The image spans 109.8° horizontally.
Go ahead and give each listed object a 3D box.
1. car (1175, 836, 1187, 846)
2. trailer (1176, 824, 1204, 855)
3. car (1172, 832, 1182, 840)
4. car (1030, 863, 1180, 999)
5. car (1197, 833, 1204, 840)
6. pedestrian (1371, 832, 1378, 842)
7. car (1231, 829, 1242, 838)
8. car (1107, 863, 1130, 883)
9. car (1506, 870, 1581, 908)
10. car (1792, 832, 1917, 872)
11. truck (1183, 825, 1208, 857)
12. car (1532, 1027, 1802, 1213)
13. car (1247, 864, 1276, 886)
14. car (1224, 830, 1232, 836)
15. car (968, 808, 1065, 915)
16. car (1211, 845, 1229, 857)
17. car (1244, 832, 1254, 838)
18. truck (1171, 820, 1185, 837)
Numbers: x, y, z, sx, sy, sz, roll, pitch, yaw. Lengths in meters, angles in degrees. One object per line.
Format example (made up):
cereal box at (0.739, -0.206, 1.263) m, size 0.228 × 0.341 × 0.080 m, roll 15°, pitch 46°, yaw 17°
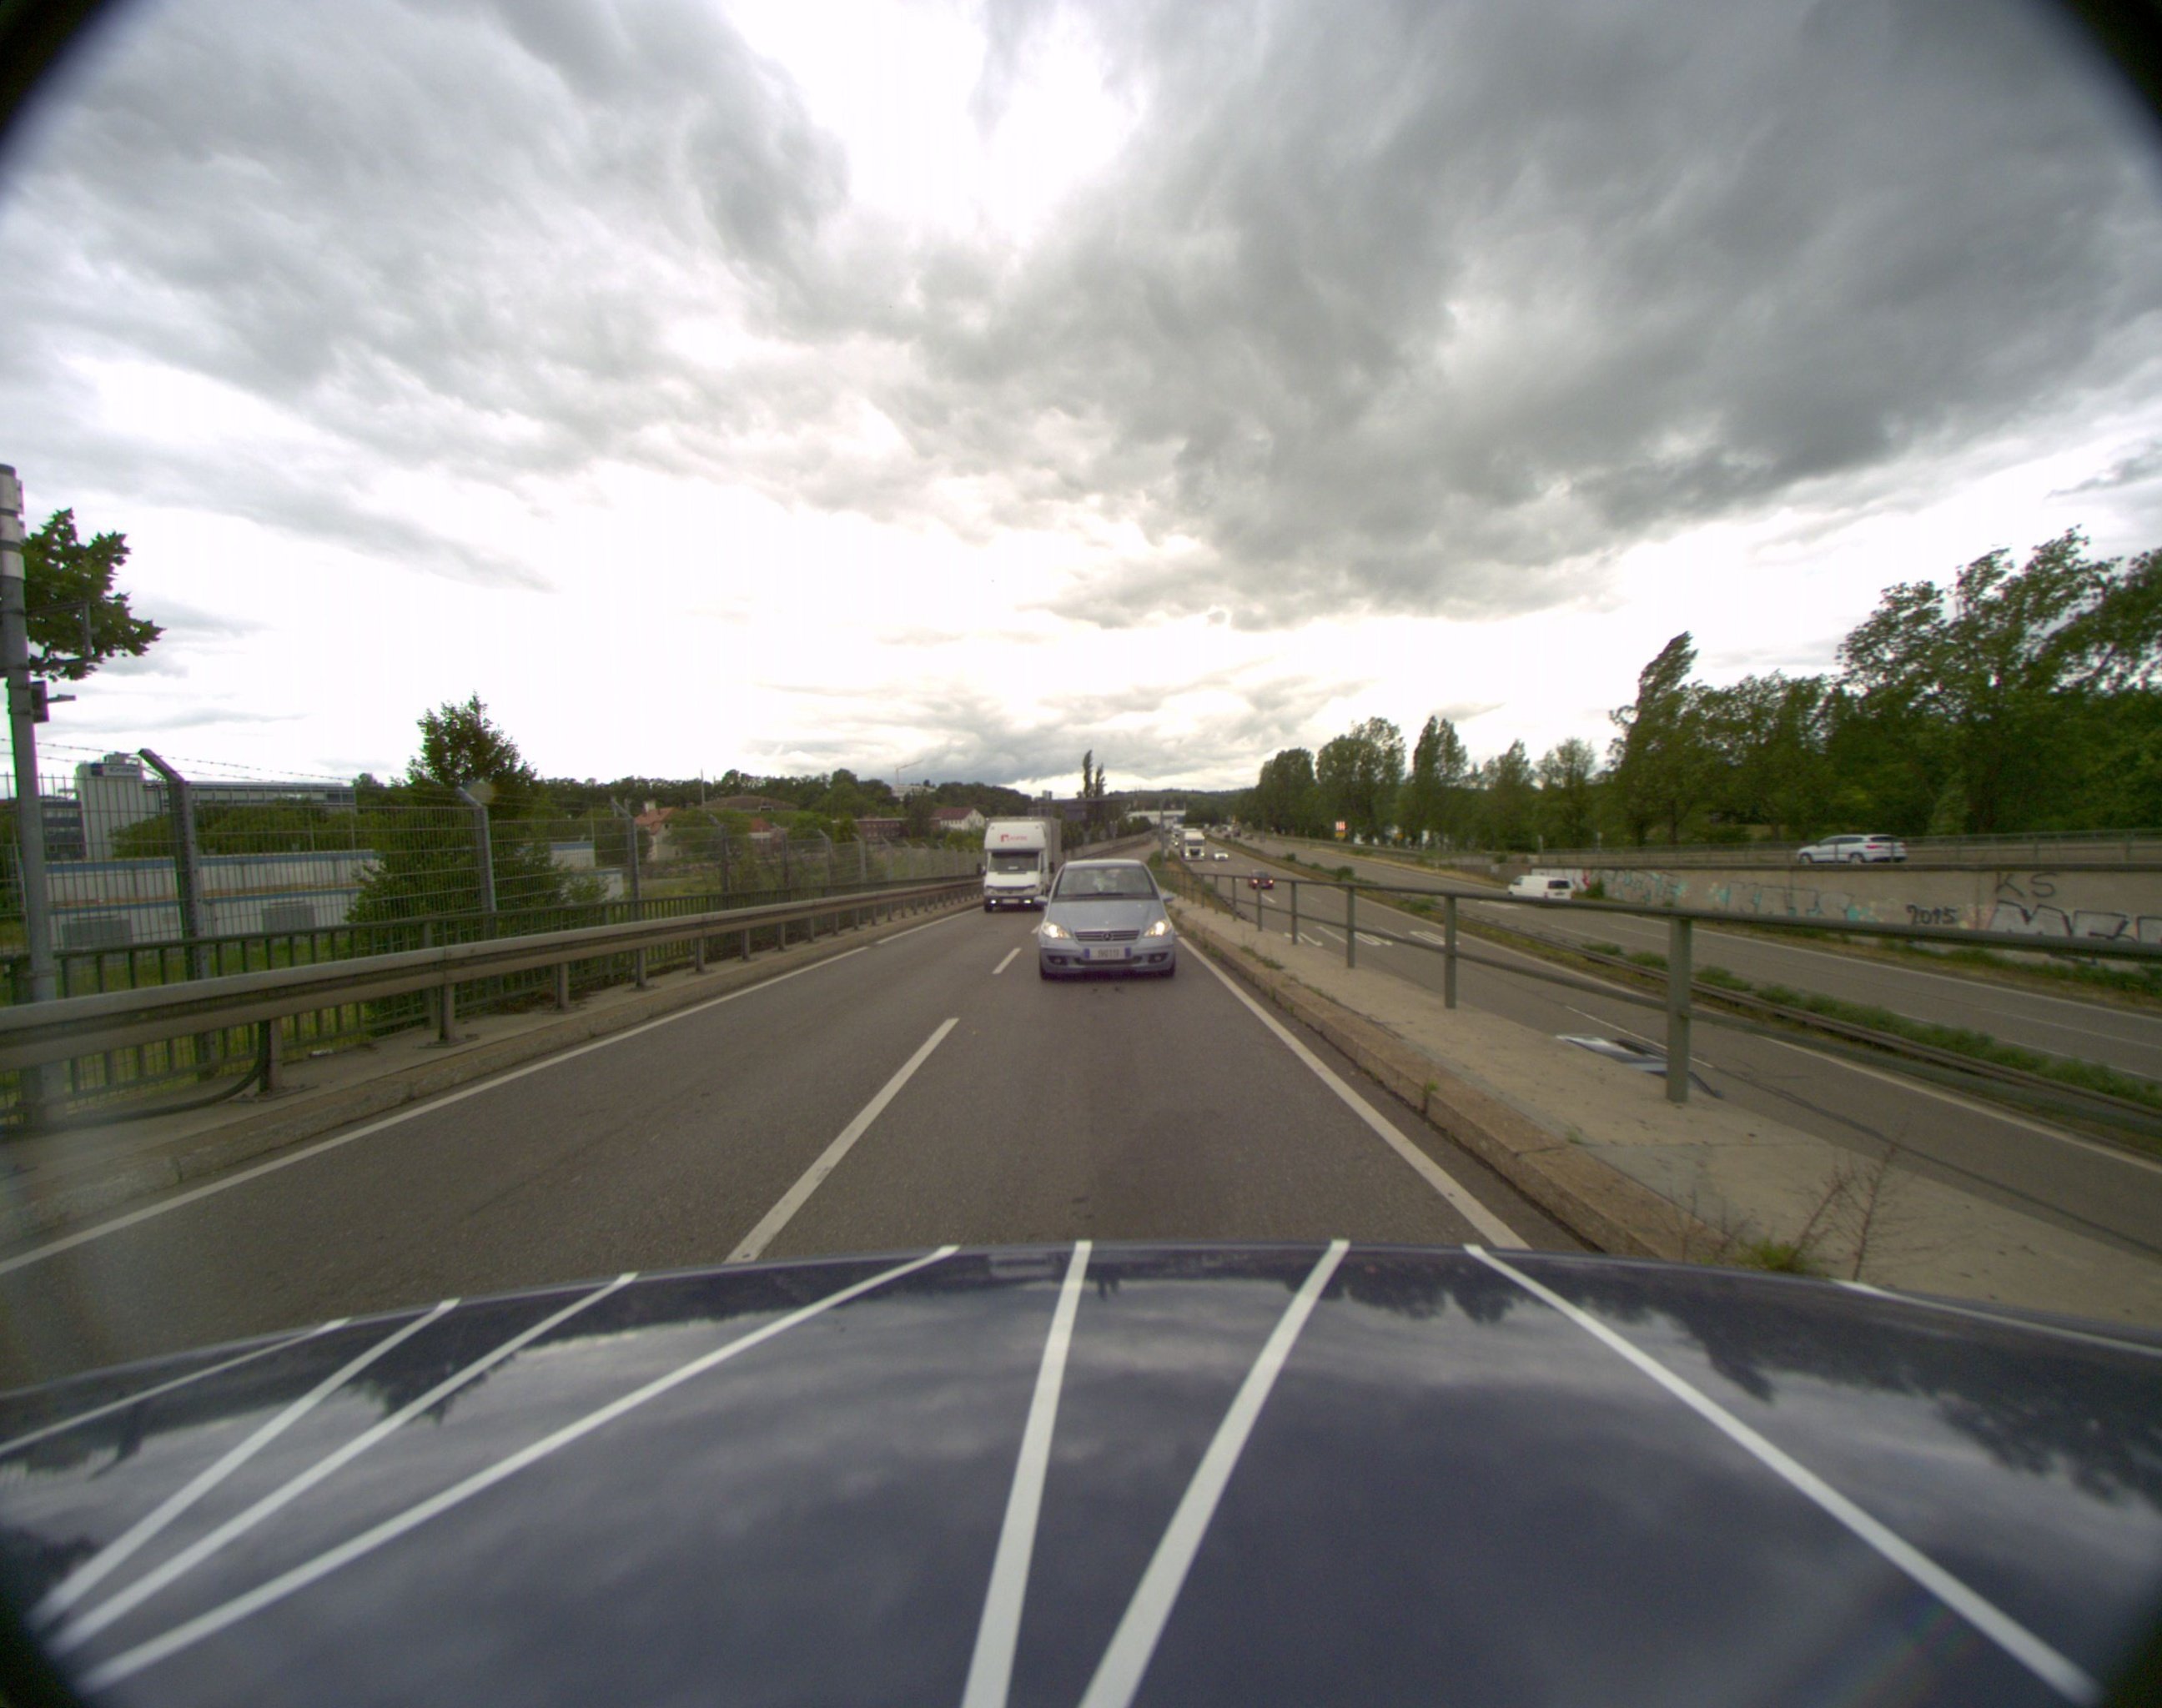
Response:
car at (19.617, -2.557, 149.435) m, size 1.858 × 1.598 × 4.164 m, roll -1°, pitch 3°, yaw 2°
trailer at (16.180, -2.333, 113.366) m, size 2.758 × 4.228 × 13.146 m, roll 0°, pitch 3°, yaw 2°
car at (21.801, -4.065, 172.614) m, size 1.858 × 1.598 × 4.164 m, roll 1°, pitch 3°, yaw 2°
car at (0.382, 0.962, 11.250) m, size 1.780 × 1.578 × 4.001 m, roll -1°, pitch 0°, yaw 3°
car at (31.041, -4.597, 197.091) m, size 1.857 × 1.598 × 4.167 m, roll 1°, pitch 3°, yaw 9°
pedestrian at (52.086, -3.060, 134.867) m, size 0.831 × 1.696 × 1.077 m, roll -2°, pitch 4°, yaw 3°
car at (48.370, -6.468, 236.568) m, size 2.249 × 2.533 × 6.112 m, roll -1°, pitch 3°, yaw 2°
car at (3.238, 1.617, 64.923) m, size 1.780 × 1.578 × 4.001 m, roll -1°, pitch 0°, yaw 4°
car at (31.163, 2.319, 51.390) m, size 1.998 × 2.056 × 5.175 m, roll -2°, pitch 3°, yaw 2°
car at (38.708, -0.085, 38.212) m, size 1.998 × 1.859 × 4.213 m, roll -1°, pitch 0°, yaw 1°
truck at (15.851, -1.905, 105.678) m, size 2.758 × 4.228 × 6.695 m, roll 0°, pitch 3°, yaw 2°
car at (10.474, 4.682, 14.082) m, size 1.844 × 1.790 × 4.279 m, roll -1°, pitch 2°, yaw 3°
car at (15.488, 1.812, 65.400) m, size 1.756 × 1.433 × 4.163 m, roll -1°, pitch 4°, yaw 4°
car at (43.217, -6.116, 223.198) m, size 1.668 × 1.493 × 3.857 m, roll 0°, pitch 3°, yaw 3°
car at (-2.109, 0.208, 27.578) m, size 2.665 × 3.310 × 7.090 m, roll -2°, pitch 1°, yaw 1°
car at (19.079, -0.425, 104.434) m, size 1.919 × 1.411 × 4.275 m, roll -1°, pitch 4°, yaw 4°
car at (44.354, -5.058, 200.642) m, size 1.715 × 1.368 × 4.109 m, roll 0°, pitch 3°, yaw 2°
truck at (27.575, -7.382, 215.767) m, size 3.179 × 4.501 × 11.121 m, roll -1°, pitch 3°, yaw 4°
